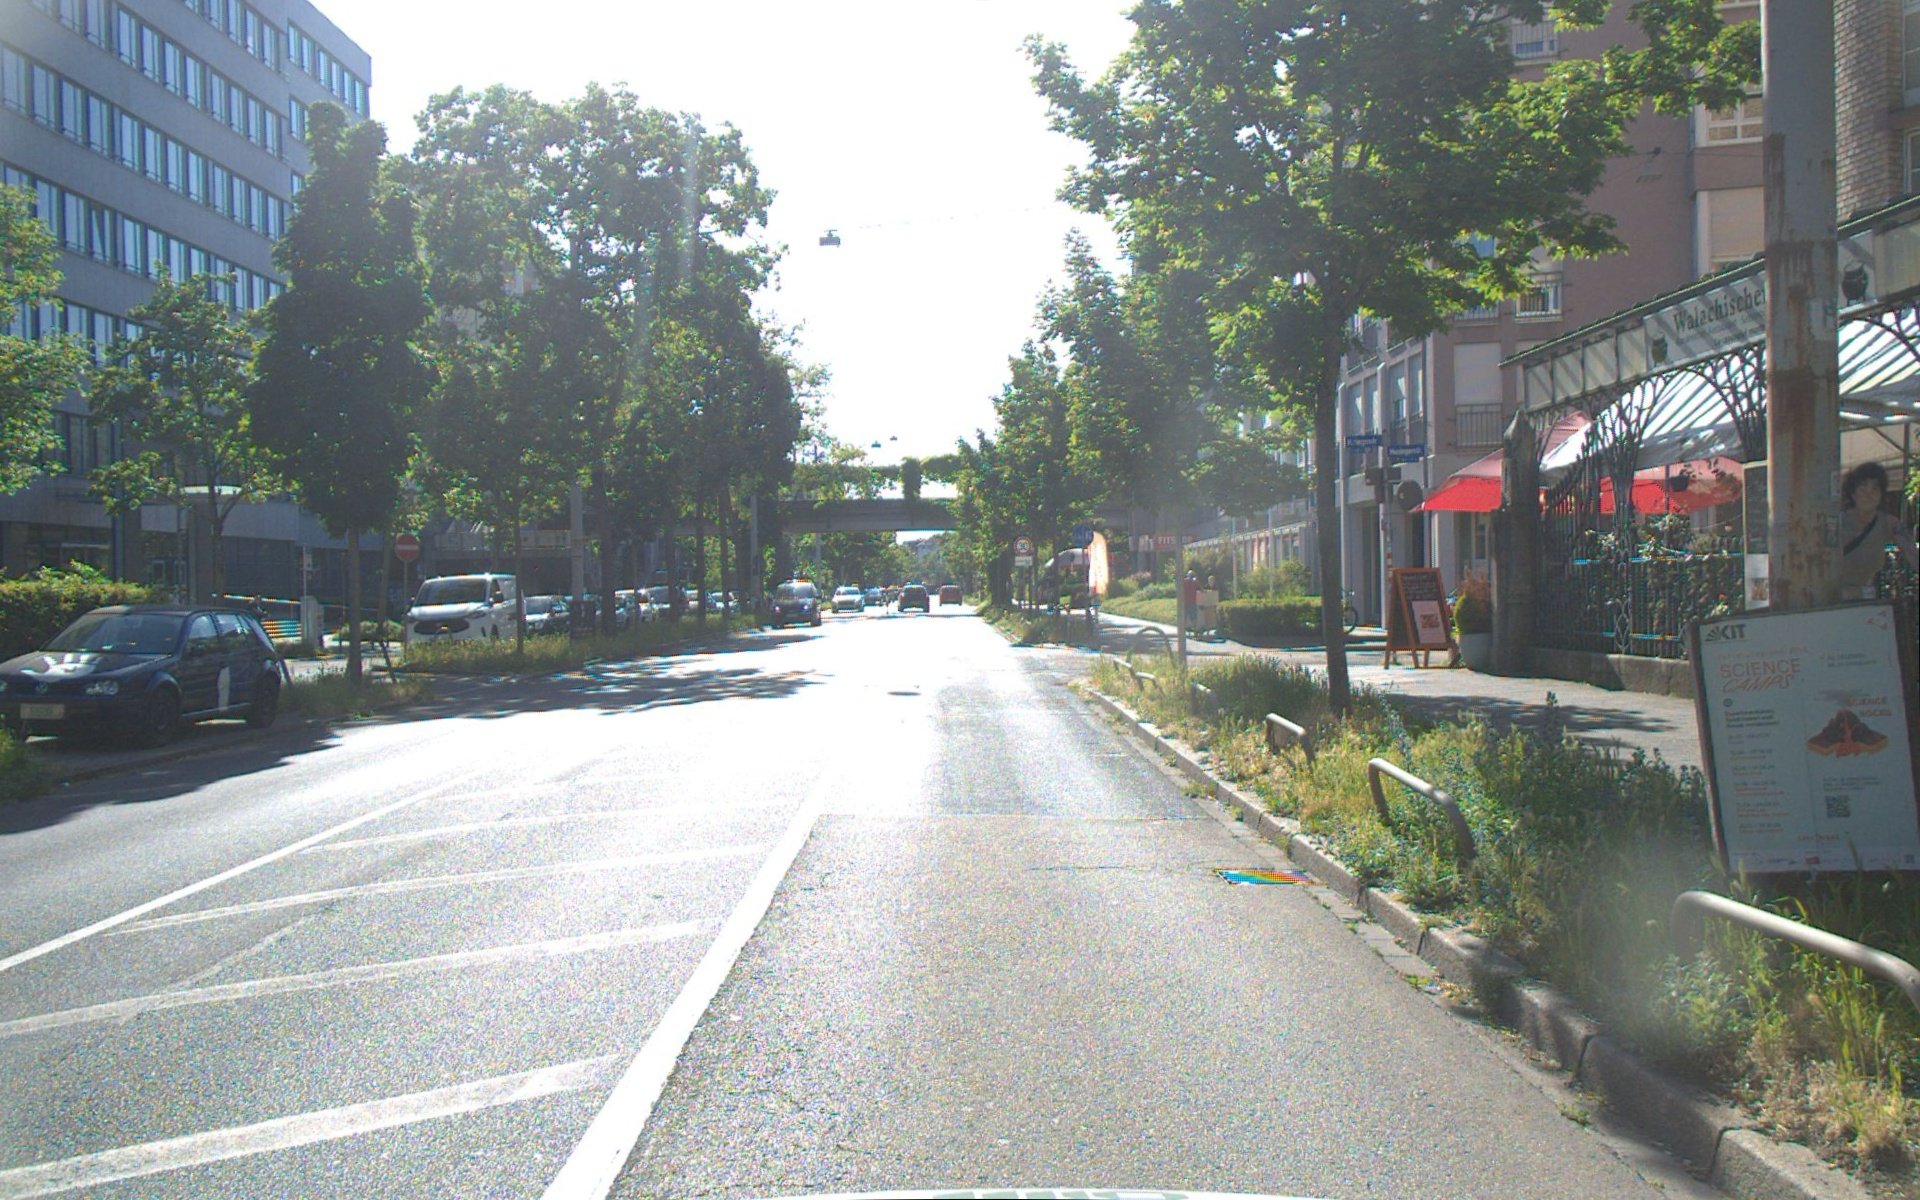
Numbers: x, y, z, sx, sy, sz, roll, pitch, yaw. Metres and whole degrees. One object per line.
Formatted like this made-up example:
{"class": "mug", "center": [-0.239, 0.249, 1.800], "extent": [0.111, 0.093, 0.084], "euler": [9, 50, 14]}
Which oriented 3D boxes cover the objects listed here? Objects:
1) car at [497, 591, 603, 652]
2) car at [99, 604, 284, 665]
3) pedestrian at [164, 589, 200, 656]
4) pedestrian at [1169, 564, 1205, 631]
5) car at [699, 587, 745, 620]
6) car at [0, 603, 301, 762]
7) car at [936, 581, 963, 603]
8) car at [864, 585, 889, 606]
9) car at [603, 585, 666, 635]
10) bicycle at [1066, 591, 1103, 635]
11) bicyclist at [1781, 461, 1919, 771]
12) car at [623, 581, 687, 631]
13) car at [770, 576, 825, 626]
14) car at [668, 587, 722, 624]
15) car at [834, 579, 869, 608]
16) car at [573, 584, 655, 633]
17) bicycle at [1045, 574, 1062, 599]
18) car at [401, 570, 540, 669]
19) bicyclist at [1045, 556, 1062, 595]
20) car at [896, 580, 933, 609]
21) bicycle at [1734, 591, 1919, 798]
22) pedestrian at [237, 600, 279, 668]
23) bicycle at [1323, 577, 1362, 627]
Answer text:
{"class": "car", "center": [-11.197, 0.548, 45.467], "extent": [1.745, 1.549, 4.319], "euler": [-1, 1, 1]}
{"class": "car", "center": [-21.251, 0.937, 45.876], "extent": [4.219, 1.549, 1.861], "euler": [-1, 1, -4]}
{"class": "pedestrian", "center": [-24.876, 0.724, 52.899], "extent": [0.755, 2.130, 0.792], "euler": [0, 0, 1]}
{"class": "pedestrian", "center": [5.692, -0.060, 41.431], "extent": [0.641, 1.631, 0.602], "euler": [-5, 0, -7]}
{"class": "car", "center": [-12.089, 0.159, 84.168], "extent": [1.818, 1.549, 4.317], "euler": [-1, 1, -2]}
{"class": "car", "center": [-8.980, 0.814, 18.300], "extent": [1.677, 1.484, 4.072], "euler": [-1, 1, 1]}
{"class": "car", "center": [-0.745, -0.606, 120.121], "extent": [1.817, 1.549, 4.319], "euler": [-1, 1, 1]}
{"class": "car", "center": [-6.575, -0.374, 131.133], "extent": [1.818, 1.464, 4.317], "euler": [-3, 1, -2]}
{"class": "car", "center": [-11.895, 0.335, 60.694], "extent": [1.820, 1.713, 4.659], "euler": [-1, 1, -6]}
{"class": "bicycle", "center": [3.294, 0.342, 43.697], "extent": [0.578, 1.084, 2.024], "euler": [-1, 1, 15]}
{"class": "bicyclist", "center": [5.179, 0.077, 9.201], "extent": [0.686, 1.627, 0.955], "euler": [-1, 0, -2]}
{"class": "car", "center": [-12.203, 0.208, 66.455], "extent": [1.818, 1.882, 4.560], "euler": [-1, 1, -2]}
{"class": "car", "center": [-6.498, 0.014, 66.714], "extent": [1.819, 1.856, 4.608], "euler": [-3, 1, -2]}
{"class": "car", "center": [-11.889, 0.223, 74.485], "extent": [1.818, 1.595, 3.871], "euler": [-1, 1, 0]}
{"class": "car", "center": [-6.588, -0.413, 100.696], "extent": [1.818, 1.595, 4.714], "euler": [-3, 1, -1]}
{"class": "car", "center": [-11.610, 0.256, 55.735], "extent": [1.817, 1.549, 4.064], "euler": [-1, 1, 1]}
{"class": "bicycle", "center": [4.120, -0.592, 73.042], "extent": [0.577, 1.045, 1.859], "euler": [-1, 0, -2]}
{"class": "car", "center": [-11.662, 0.404, 39.762], "extent": [1.942, 2.112, 5.193], "euler": [-4, 1, -3]}
{"class": "bicyclist", "center": [4.129, -1.072, 72.924], "extent": [0.654, 1.725, 0.889], "euler": [-1, 0, -3]}
{"class": "car", "center": [-2.708, -0.358, 97.443], "extent": [1.946, 1.628, 4.136], "euler": [-1, 1, -5]}
{"class": "bicycle", "center": [5.193, 0.481, 9.256], "extent": [0.671, 1.045, 2.095], "euler": [-2, 0, -2]}
{"class": "pedestrian", "center": [-21.131, 1.015, 49.820], "extent": [0.818, 2.049, 1.008], "euler": [0, 0, -1]}
{"class": "bicycle", "center": [9.146, 0.030, 39.605], "extent": [0.670, 1.045, 2.205], "euler": [-3, 3, 8]}
